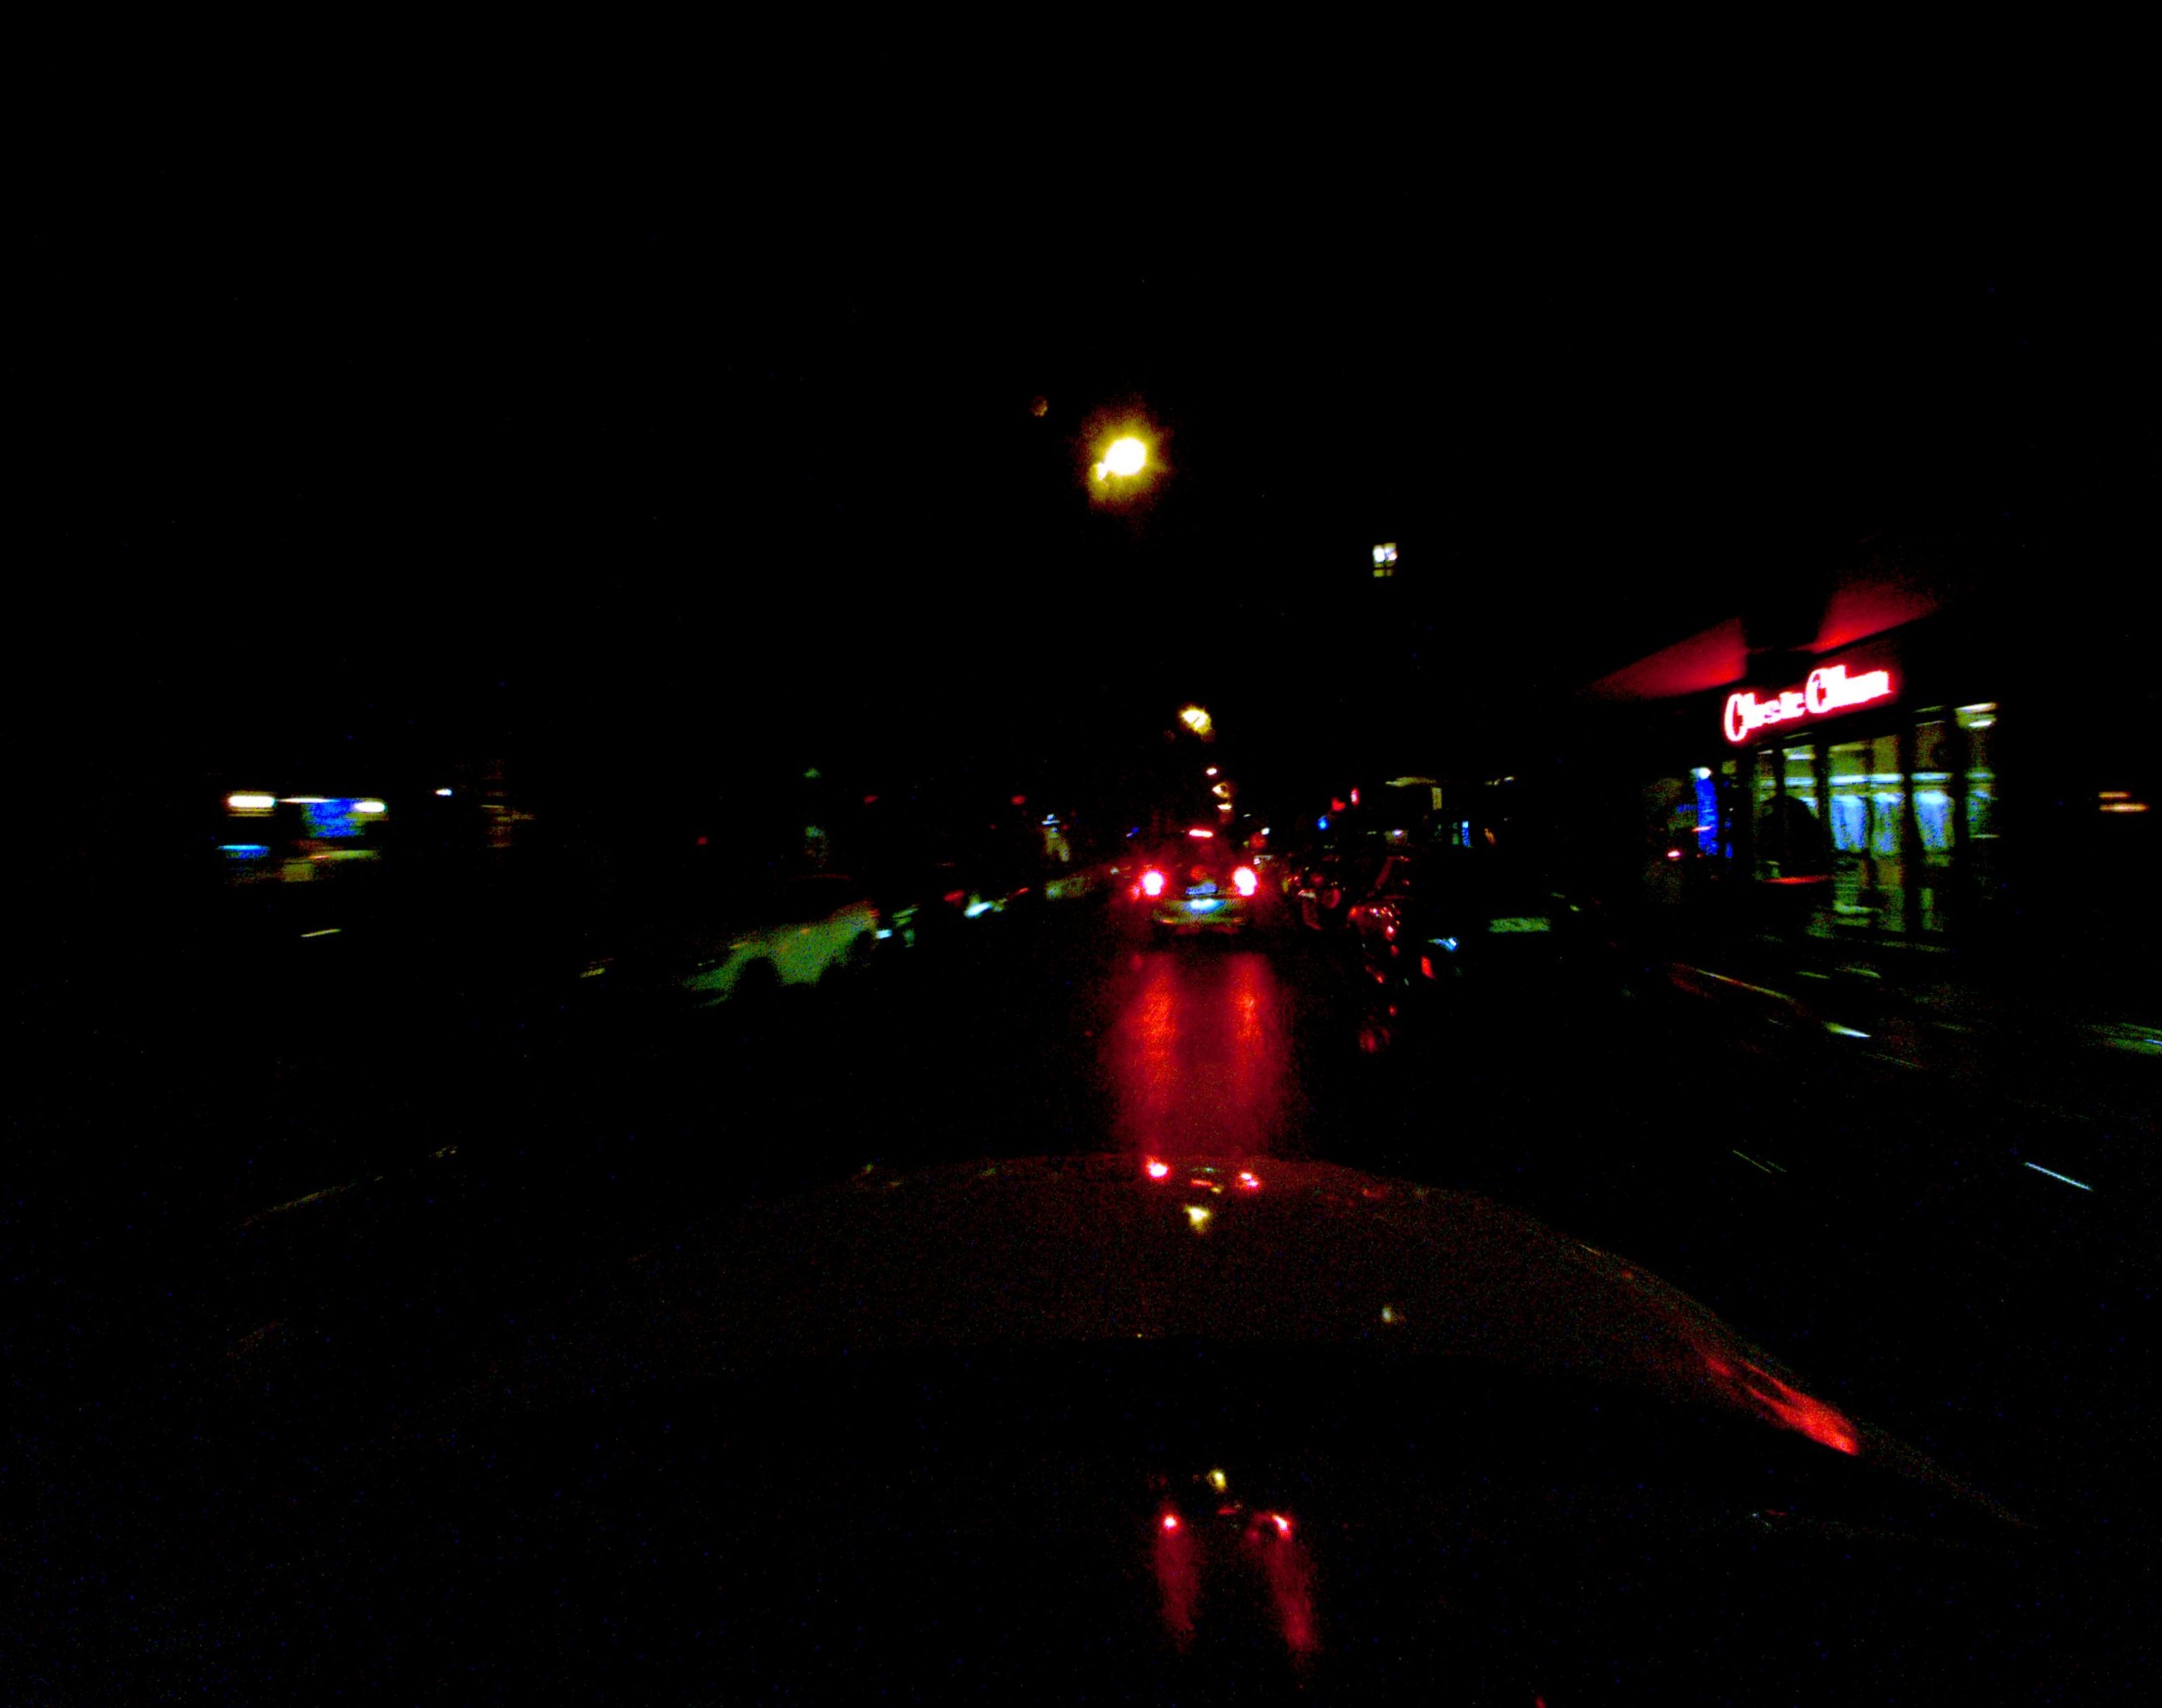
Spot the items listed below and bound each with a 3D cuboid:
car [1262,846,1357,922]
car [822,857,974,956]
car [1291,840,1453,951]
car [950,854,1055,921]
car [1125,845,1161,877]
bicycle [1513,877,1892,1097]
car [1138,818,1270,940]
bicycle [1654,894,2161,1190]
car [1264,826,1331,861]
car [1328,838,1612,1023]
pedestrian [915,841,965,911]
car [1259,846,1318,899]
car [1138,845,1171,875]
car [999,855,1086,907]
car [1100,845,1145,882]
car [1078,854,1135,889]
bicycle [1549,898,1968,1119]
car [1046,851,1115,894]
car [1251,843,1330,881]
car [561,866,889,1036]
[{"bbox_3d":[5.355,0.665,19.540,1.742,1.608,4.000,-1,-1,9],"label":"car"},{"bbox_3d":[-3.113,0.855,14.337,1.576,1.510,2.796,-1,0,11],"label":"car"},{"bbox_3d":[4.616,0.601,13.546,1.742,1.538,4.409,-1,-1,9],"label":"car"},{"bbox_3d":[-1.821,0.752,19.952,1.576,1.449,3.514,-1,0,11],"label":"car"},{"bbox_3d":[4.013,0.432,52.250,1.981,2.013,4.011,0,0,9],"label":"car"},{"bbox_3d":[3.678,0.790,4.921,1.752,1.125,0.437,-6,0,8],"label":"bicycle"},{"bbox_3d":[2.367,0.409,15.832,2.110,1.991,4.612,-2,0,8],"label":"car"},{"bbox_3d":[3.563,0.782,3.493,1.773,1.125,0.437,-3,0,8],"label":"bicycle"},{"bbox_3d":[13.812,-0.669,52.123,3.961,2.013,2.006,-2,0,11],"label":"car"},{"bbox_3d":[3.968,0.674,9.097,1.742,1.565,4.165,-1,-1,9],"label":"car"},{"bbox_3d":[-3.805,0.583,22.048,1.024,1.865,0.981,0,0,15],"label":"pedestrian"},{"bbox_3d":[6.478,0.570,25.651,1.581,1.543,3.430,-1,-1,11],"label":"car"},{"bbox_3d":[5.248,0.426,57.883,1.981,2.013,4.011,0,0,10],"label":"car"},{"bbox_3d":[-1.096,0.769,25.201,1.679,1.400,4.330,-1,0,11],"label":"car"},{"bbox_3d":[2.249,0.487,43.286,1.982,1.862,4.104,0,0,9],"label":"car"},{"bbox_3d":[1.188,0.708,35.847,1.982,1.449,4.010,0,0,9],"label":"car"},{"bbox_3d":[3.587,0.822,4.416,1.752,1.079,0.437,-2,0,8],"label":"bicycle"},{"bbox_3d":[0.069,0.637,31.168,1.742,1.448,4.637,0,1,11],"label":"car"},{"bbox_3d":[12.270,0.494,47.788,3.982,2.014,1.995,-2,-2,-6],"label":"car"},{"bbox_3d":[-3.911,0.942,9.794,1.576,1.463,4.036,1,1,11],"label":"car"}]
